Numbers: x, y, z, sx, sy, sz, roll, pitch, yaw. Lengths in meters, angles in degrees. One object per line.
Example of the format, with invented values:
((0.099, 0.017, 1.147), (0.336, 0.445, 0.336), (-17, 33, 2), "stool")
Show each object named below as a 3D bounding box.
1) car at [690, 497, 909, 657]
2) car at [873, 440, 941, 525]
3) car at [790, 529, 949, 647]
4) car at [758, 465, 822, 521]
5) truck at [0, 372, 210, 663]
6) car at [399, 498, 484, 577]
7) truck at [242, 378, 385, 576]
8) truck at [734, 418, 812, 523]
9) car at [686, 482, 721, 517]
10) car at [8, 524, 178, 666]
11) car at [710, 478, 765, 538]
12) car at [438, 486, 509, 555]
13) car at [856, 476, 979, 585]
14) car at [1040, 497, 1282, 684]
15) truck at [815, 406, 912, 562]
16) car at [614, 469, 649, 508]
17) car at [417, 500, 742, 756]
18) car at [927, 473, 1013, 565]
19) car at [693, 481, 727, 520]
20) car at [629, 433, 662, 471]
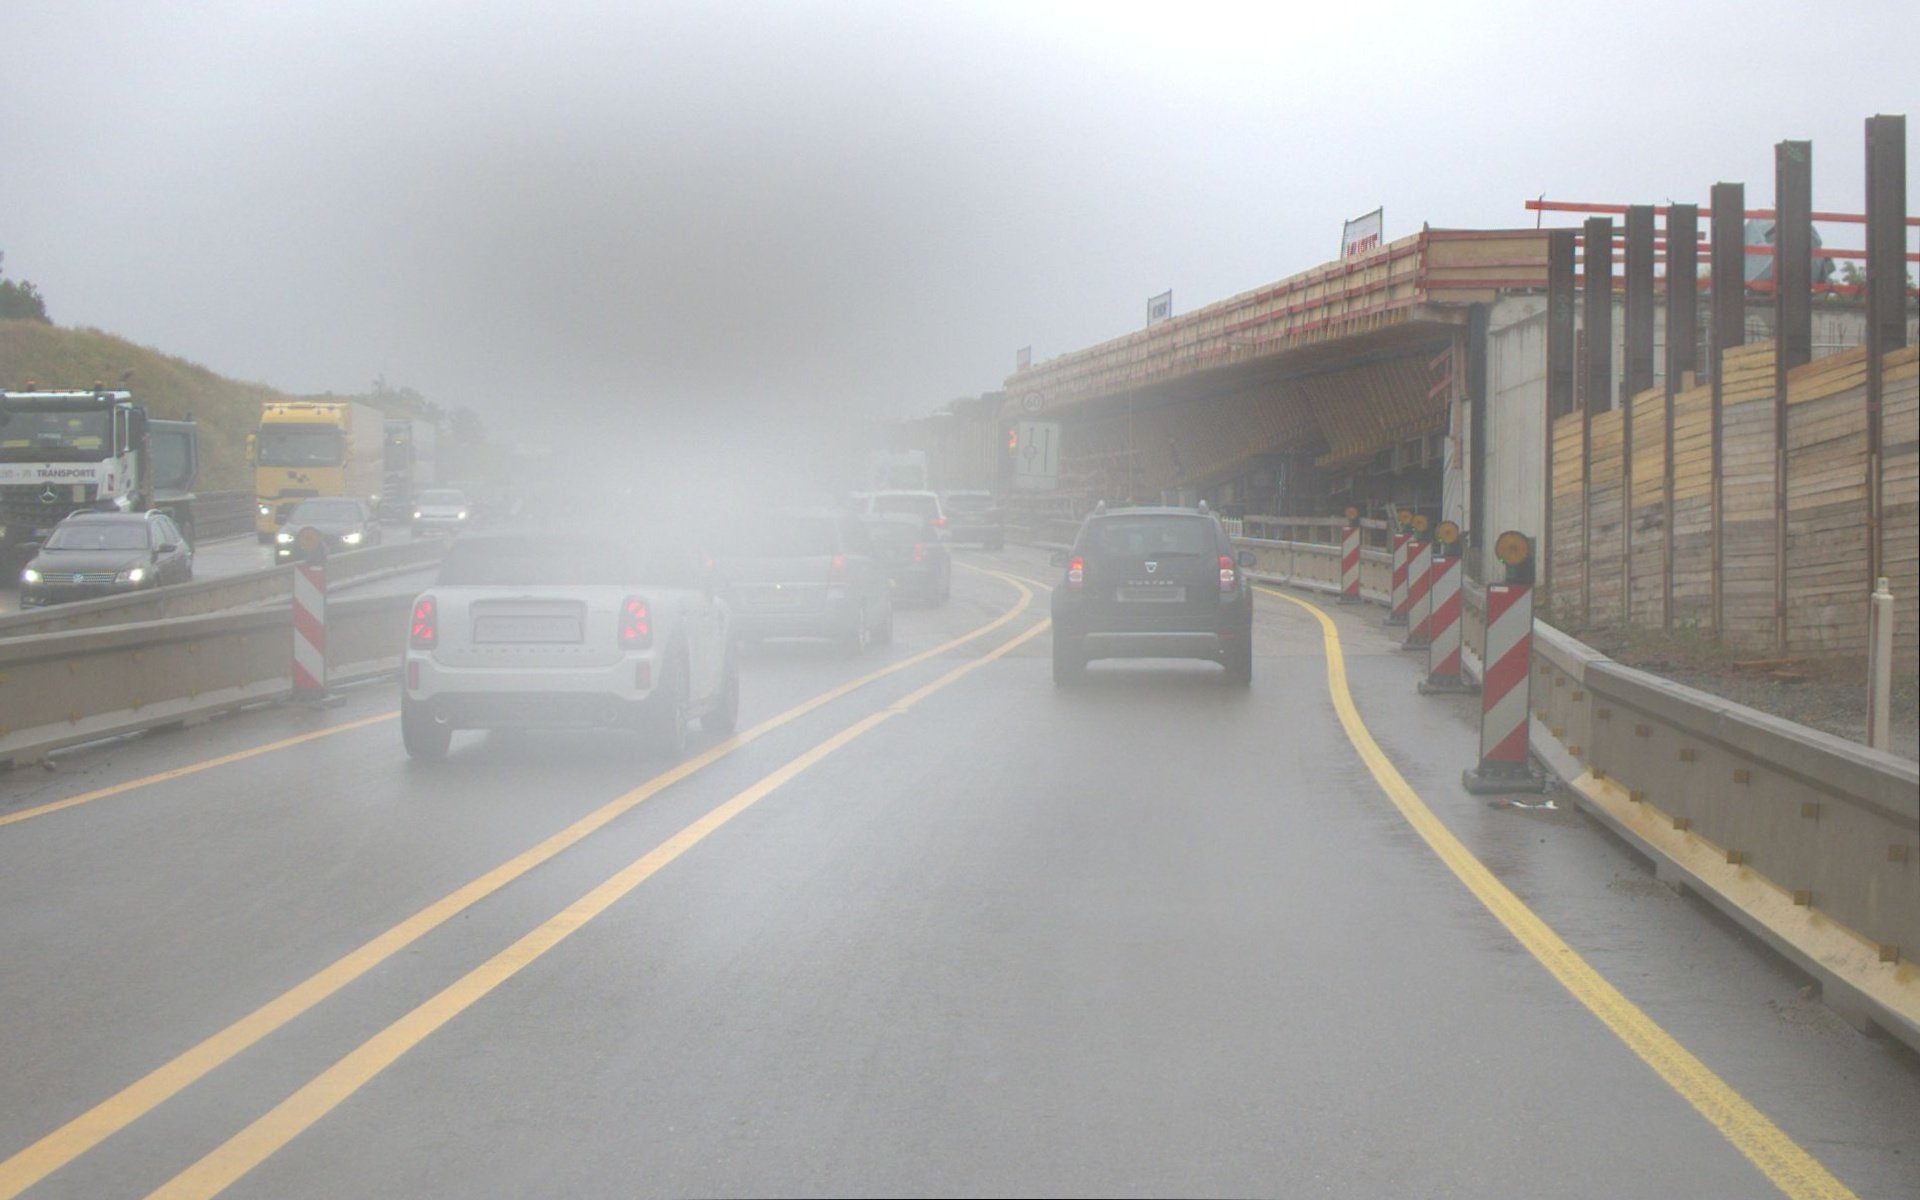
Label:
((-1.710, -0.202, 38.001), (1.994, 1.595, 4.139), (0, -2, 3), "car")
((-1.759, -3.827, 113.023), (1.993, 2.476, 4.982), (0, -2, -4), "car")
((-1.392, -0.136, 51.189), (1.993, 1.595, 4.141), (0, -2, -7), "car")
((-6.039, -3.778, 121.848), (1.993, 1.755, 3.815), (0, -2, -6), "car")
((-15.813, -1.392, 62.447), (3.082, 4.903, 8.565), (1, 0, -4), "truck")
((-16.120, -1.910, 107.015), (2.238, 2.351, 4.877), (1, 0, -4), "car")
((-18.736, -3.454, 100.102), (3.141, 5.399, 8.524), (1, 0, -4), "truck")
((-10.686, -7.243, 195.262), (3.803, 5.026, 12.922), (0, -2, -6), "truck")
((-15.801, -6.197, 211.635), (1.993, 2.007, 4.001), (-1, 0, -6), "car")
((-11.709, -0.028, 46.615), (1.622, 1.804, 3.637), (0, -2, -4), "car")
((-8.941, -3.692, 138.478), (1.993, 2.156, 4.140), (0, -2, 0), "car")
((-17.545, -2.842, 124.087), (2.216, 2.362, 4.664), (1, 0, -4), "car")
((-0.847, -1.312, 65.779), (1.993, 2.007, 3.894), (0, 1, -6), "car")
((1.801, -0.033, 32.110), (2.081, 1.595, 4.140), (0, -2, 1), "car")
((-3.655, -4.364, 132.854), (3.102, 5.408, 9.441), (0, -2, 2), "truck")
((-19.116, -6.461, 199.938), (1.993, 2.007, 4.000), (0, -2, -6), "car")
((-2.515, 0.226, 23.664), (1.816, 1.595, 4.308), (0, -1, -1), "car")
((0.232, -2.078, 89.513), (1.993, 2.156, 4.140), (0, -2, -3), "car")
((-13.927, -5.542, 191.395), (1.849, 1.887, 4.021), (0, -2, -5), "car")
((-19.589, -9.207, 214.300), (1.993, 2.007, 4.000), (0, -2, -6), "car")
